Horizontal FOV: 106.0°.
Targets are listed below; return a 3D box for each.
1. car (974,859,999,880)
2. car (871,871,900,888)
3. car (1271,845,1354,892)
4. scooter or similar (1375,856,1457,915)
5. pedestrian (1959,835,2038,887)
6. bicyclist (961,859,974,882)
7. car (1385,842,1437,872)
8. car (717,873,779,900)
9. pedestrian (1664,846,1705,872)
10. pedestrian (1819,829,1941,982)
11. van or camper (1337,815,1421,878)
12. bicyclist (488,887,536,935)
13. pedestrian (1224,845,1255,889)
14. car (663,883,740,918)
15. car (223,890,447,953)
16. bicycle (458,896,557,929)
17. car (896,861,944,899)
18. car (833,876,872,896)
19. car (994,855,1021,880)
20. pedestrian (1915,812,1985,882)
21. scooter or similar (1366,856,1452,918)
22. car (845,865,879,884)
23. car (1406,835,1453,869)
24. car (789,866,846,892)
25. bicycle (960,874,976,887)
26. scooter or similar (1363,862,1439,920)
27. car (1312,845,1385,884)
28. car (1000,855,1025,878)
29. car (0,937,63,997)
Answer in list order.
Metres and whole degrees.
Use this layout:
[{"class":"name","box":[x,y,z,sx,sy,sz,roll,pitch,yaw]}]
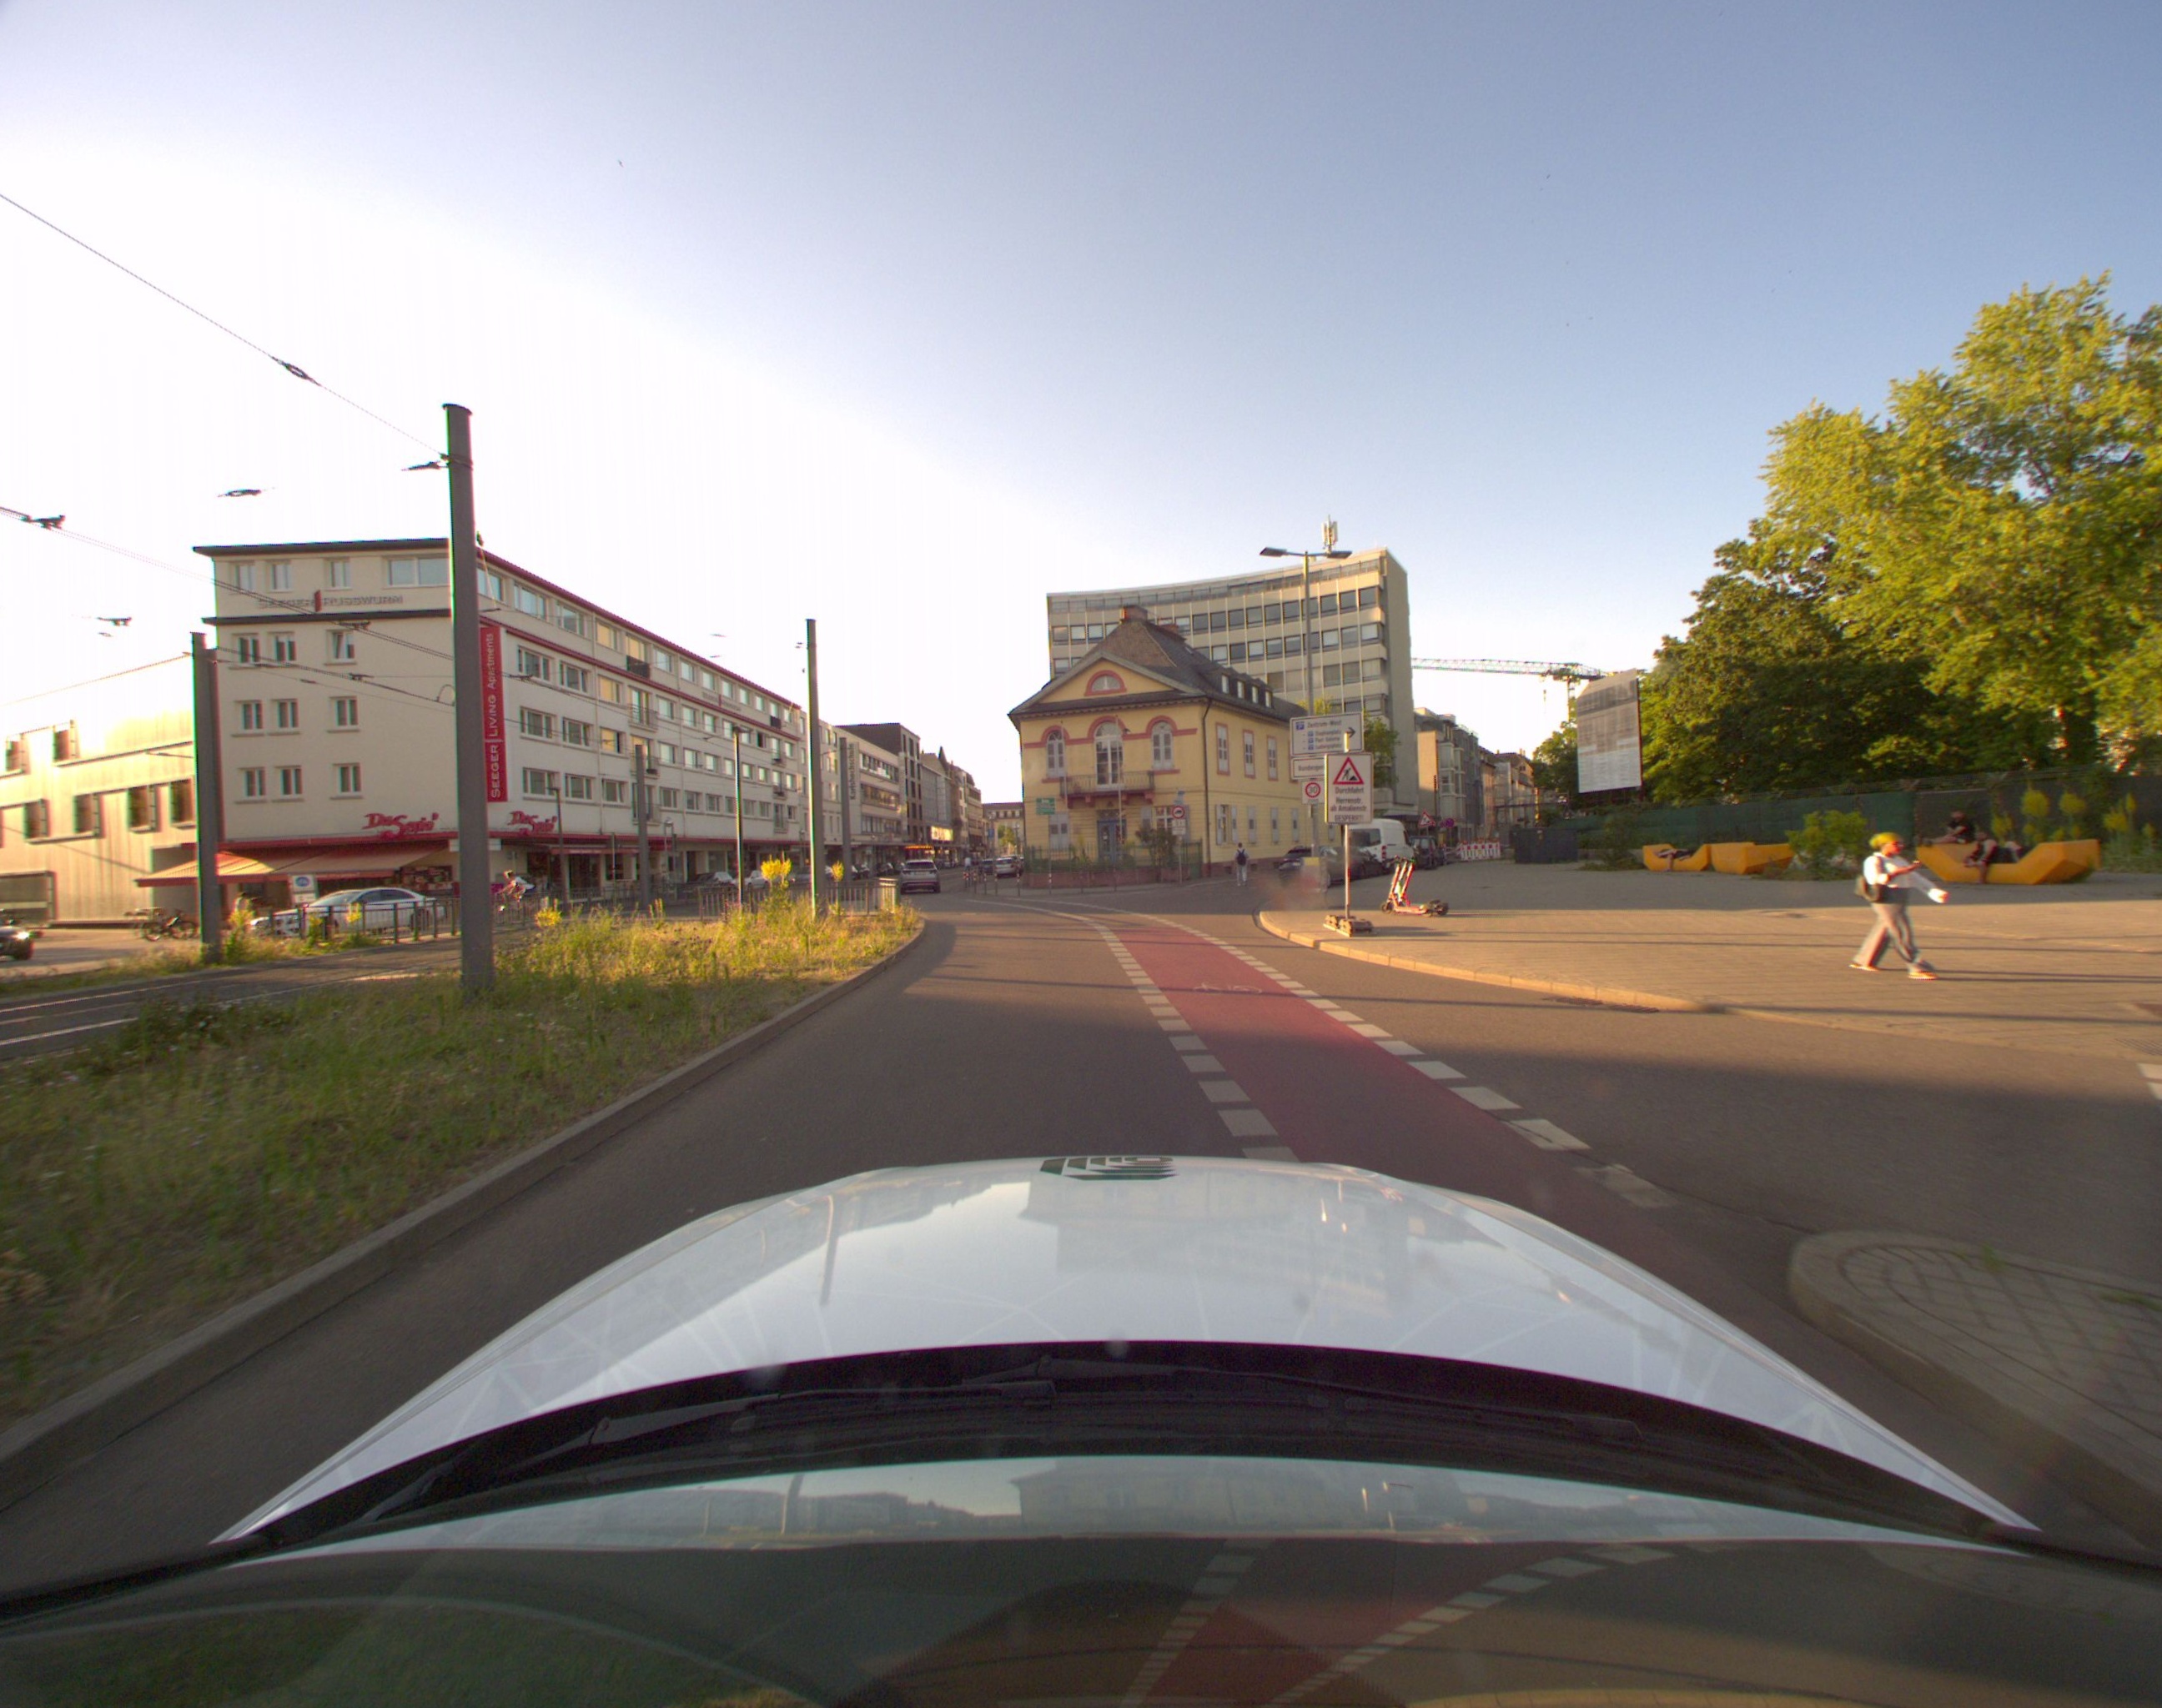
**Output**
[{"class":"car","box":[-8.907,1.451,76.886,1.803,1.809,3.998,-2,0,-1]},{"class":"car","box":[-21.295,2.773,88.852,1.985,1.665,4.004,-2,0,3]},{"class":"car","box":[8.687,0.495,30.370,1.761,1.543,4.318,-2,0,32]},{"class":"scooter or similar","box":[7.436,0.699,18.093,1.507,1.260,0.616,-3,-1,42]},{"class":"pedestrian","box":[21.627,0.164,19.214,0.983,1.157,0.735,-2,0,2]},{"class":"bicyclist","box":[-8.237,1.199,59.190,0.827,1.568,0.787,-2,-1,-2]},{"class":"car","box":[17.789,0.146,43.768,1.675,1.459,4.125,-2,0,35]},{"class":"car","box":[-21.762,2.099,53.477,1.985,1.465,4.406,-2,0,3]},{"class":"pedestrian","box":[21.159,0.180,28.571,0.562,0.893,0.975,-2,0,-19]},{"class":"pedestrian","box":[8.815,0.549,9.011,0.684,1.613,0.597,-3,0,4]},{"class":"van or camper","box":[14.446,-0.368,39.169,2.057,2.774,6.491,-2,0,36]},{"class":"bicyclist","box":[-18.120,1.795,25.929,0.824,1.441,0.936,-3,-1,28]},{"class":"pedestrian","box":[6.374,0.508,32.708,0.868,1.724,0.835,-2,0,38]},{"class":"car","box":[-22.133,2.686,47.746,1.985,1.665,4.844,-2,0,3]},{"class":"car","box":[-22.247,1.959,24.605,2.022,1.441,4.673,-3,0,9]},{"class":"bicycle","box":[-18.154,1.833,25.861,0.836,0.846,2.438,-3,0,28]},{"class":"car","box":[-7.915,1.212,39.776,1.947,1.661,4.511,-2,0,-16]},{"class":"car","box":[-20.688,2.892,73.920,1.985,1.665,4.642,-1,-1,3]},{"class":"car","box":[-5.434,0.983,60.381,1.727,1.708,3.437,-3,-1,-2]},{"class":"pedestrian","box":[21.456,-0.176,20.121,0.816,1.665,0.764,-3,0,2]},{"class":"scooter or similar","box":[7.089,0.705,17.637,1.632,1.292,0.464,-2,0,42]},{"class":"car","box":[-21.528,2.012,80.338,1.985,1.665,4.004,-3,-1,3]},{"class":"car","box":[20.411,-0.116,47.590,1.696,1.848,4.048,-2,0,35]},{"class":"car","box":[-18.136,1.707,56.215,2.188,1.559,4.286,-2,0,5]},{"class":"bicycle","box":[-8.203,1.909,59.211,0.827,0.870,2.548,-2,0,-2]},{"class":"scooter or similar","box":[6.766,0.784,17.244,1.386,1.166,0.464,-3,0,41]},{"class":"car","box":[11.330,0.403,34.308,1.712,1.429,4.503,-2,0,34]},{"class":"car","box":[-5.500,1.003,65.497,1.727,1.708,3.803,-2,0,-2]},{"class":"car","box":[-30.149,3.083,22.031,4.323,1.436,1.745,-3,0,17]}]
